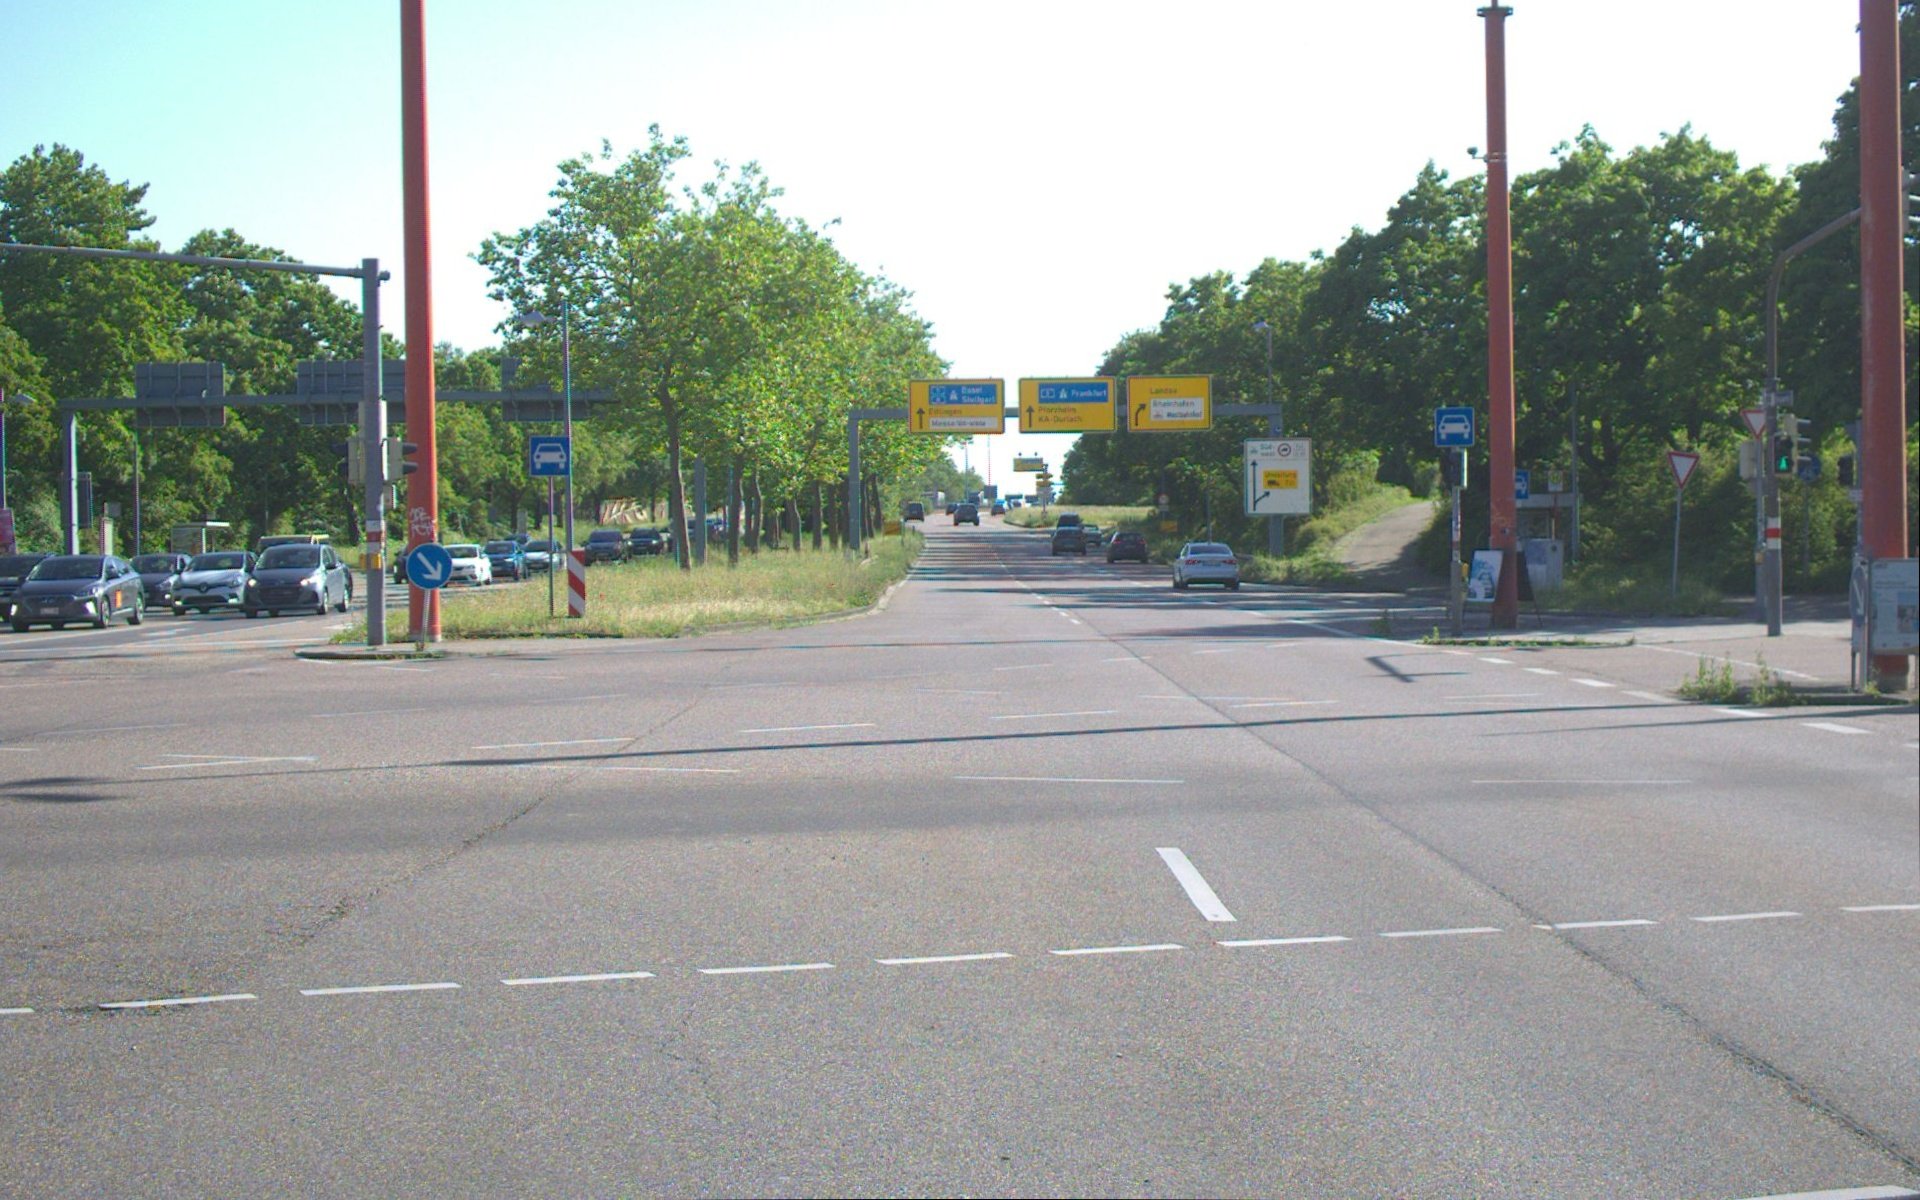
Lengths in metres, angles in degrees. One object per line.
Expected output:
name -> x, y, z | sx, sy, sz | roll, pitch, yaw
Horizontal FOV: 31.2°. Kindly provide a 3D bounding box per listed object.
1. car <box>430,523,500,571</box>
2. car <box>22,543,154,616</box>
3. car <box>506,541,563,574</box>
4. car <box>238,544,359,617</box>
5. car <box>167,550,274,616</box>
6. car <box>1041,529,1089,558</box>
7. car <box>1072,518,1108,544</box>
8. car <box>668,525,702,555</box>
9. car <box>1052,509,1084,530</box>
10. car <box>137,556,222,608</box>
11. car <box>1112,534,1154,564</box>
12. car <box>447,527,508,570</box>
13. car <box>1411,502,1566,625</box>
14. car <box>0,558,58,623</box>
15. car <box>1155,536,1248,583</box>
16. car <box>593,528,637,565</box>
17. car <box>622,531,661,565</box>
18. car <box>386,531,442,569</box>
car -> -16.831, -1.809, 117.020 | 1.704, 1.590, 4.000 | 0, 1, 1
car -> -17.094, -0.430, 67.561 | 1.548, 1.372, 4.263 | -1, 1, -1
car -> -17.327, -1.742, 140.246 | 2.003, 1.303, 4.001 | -1, 1, -3
car -> -13.850, -0.411, 72.182 | 1.701, 1.416, 4.000 | 2, 1, 0
car -> -17.215, -0.415, 80.196 | 1.605, 1.454, 3.950 | -1, 1, 0
car -> 5.496, -3.002, 181.129 | 1.993, 1.491, 4.001 | -1, 1, -6
car -> 7.747, -4.105, 205.272 | 1.993, 1.535, 4.000 | 0, 1, 0
car -> -16.177, -3.548, 202.320 | 1.608, 1.724, 3.789 | 0, 1, 1
car -> 8.040, -5.953, 254.915 | 1.994, 1.535, 3.999 | 0, 1, 7
car -> -19.838, -0.468, 87.479 | 1.453, 1.269, 3.613 | 0, 1, -2
car -> 7.925, -2.332, 157.569 | 1.738, 1.337, 3.081 | -1, 1, 0
car -> -18.010, -1.922, 128.365 | 1.704, 1.553, 3.803 | 0, 1, 1
car -> 8.520, -0.602, 55.157 | 1.995, 1.881, 3.997 | 0, 1, 15
car -> -21.949, -0.214, 78.691 | 1.544, 1.428, 3.886 | -2, 1, 0
car -> 7.204, -1.226, 102.948 | 2.054, 1.366, 4.393 | -1, 1, -6
car -> -16.496, -2.569, 164.471 | 1.625, 1.733, 4.000 | 0, 1, 1
car -> -16.947, -2.766, 183.091 | 1.657, 1.741, 4.000 | 0, 1, 1
car -> -21.197, -1.940, 133.623 | 1.628, 1.445, 3.434 | 0, 1, 0
